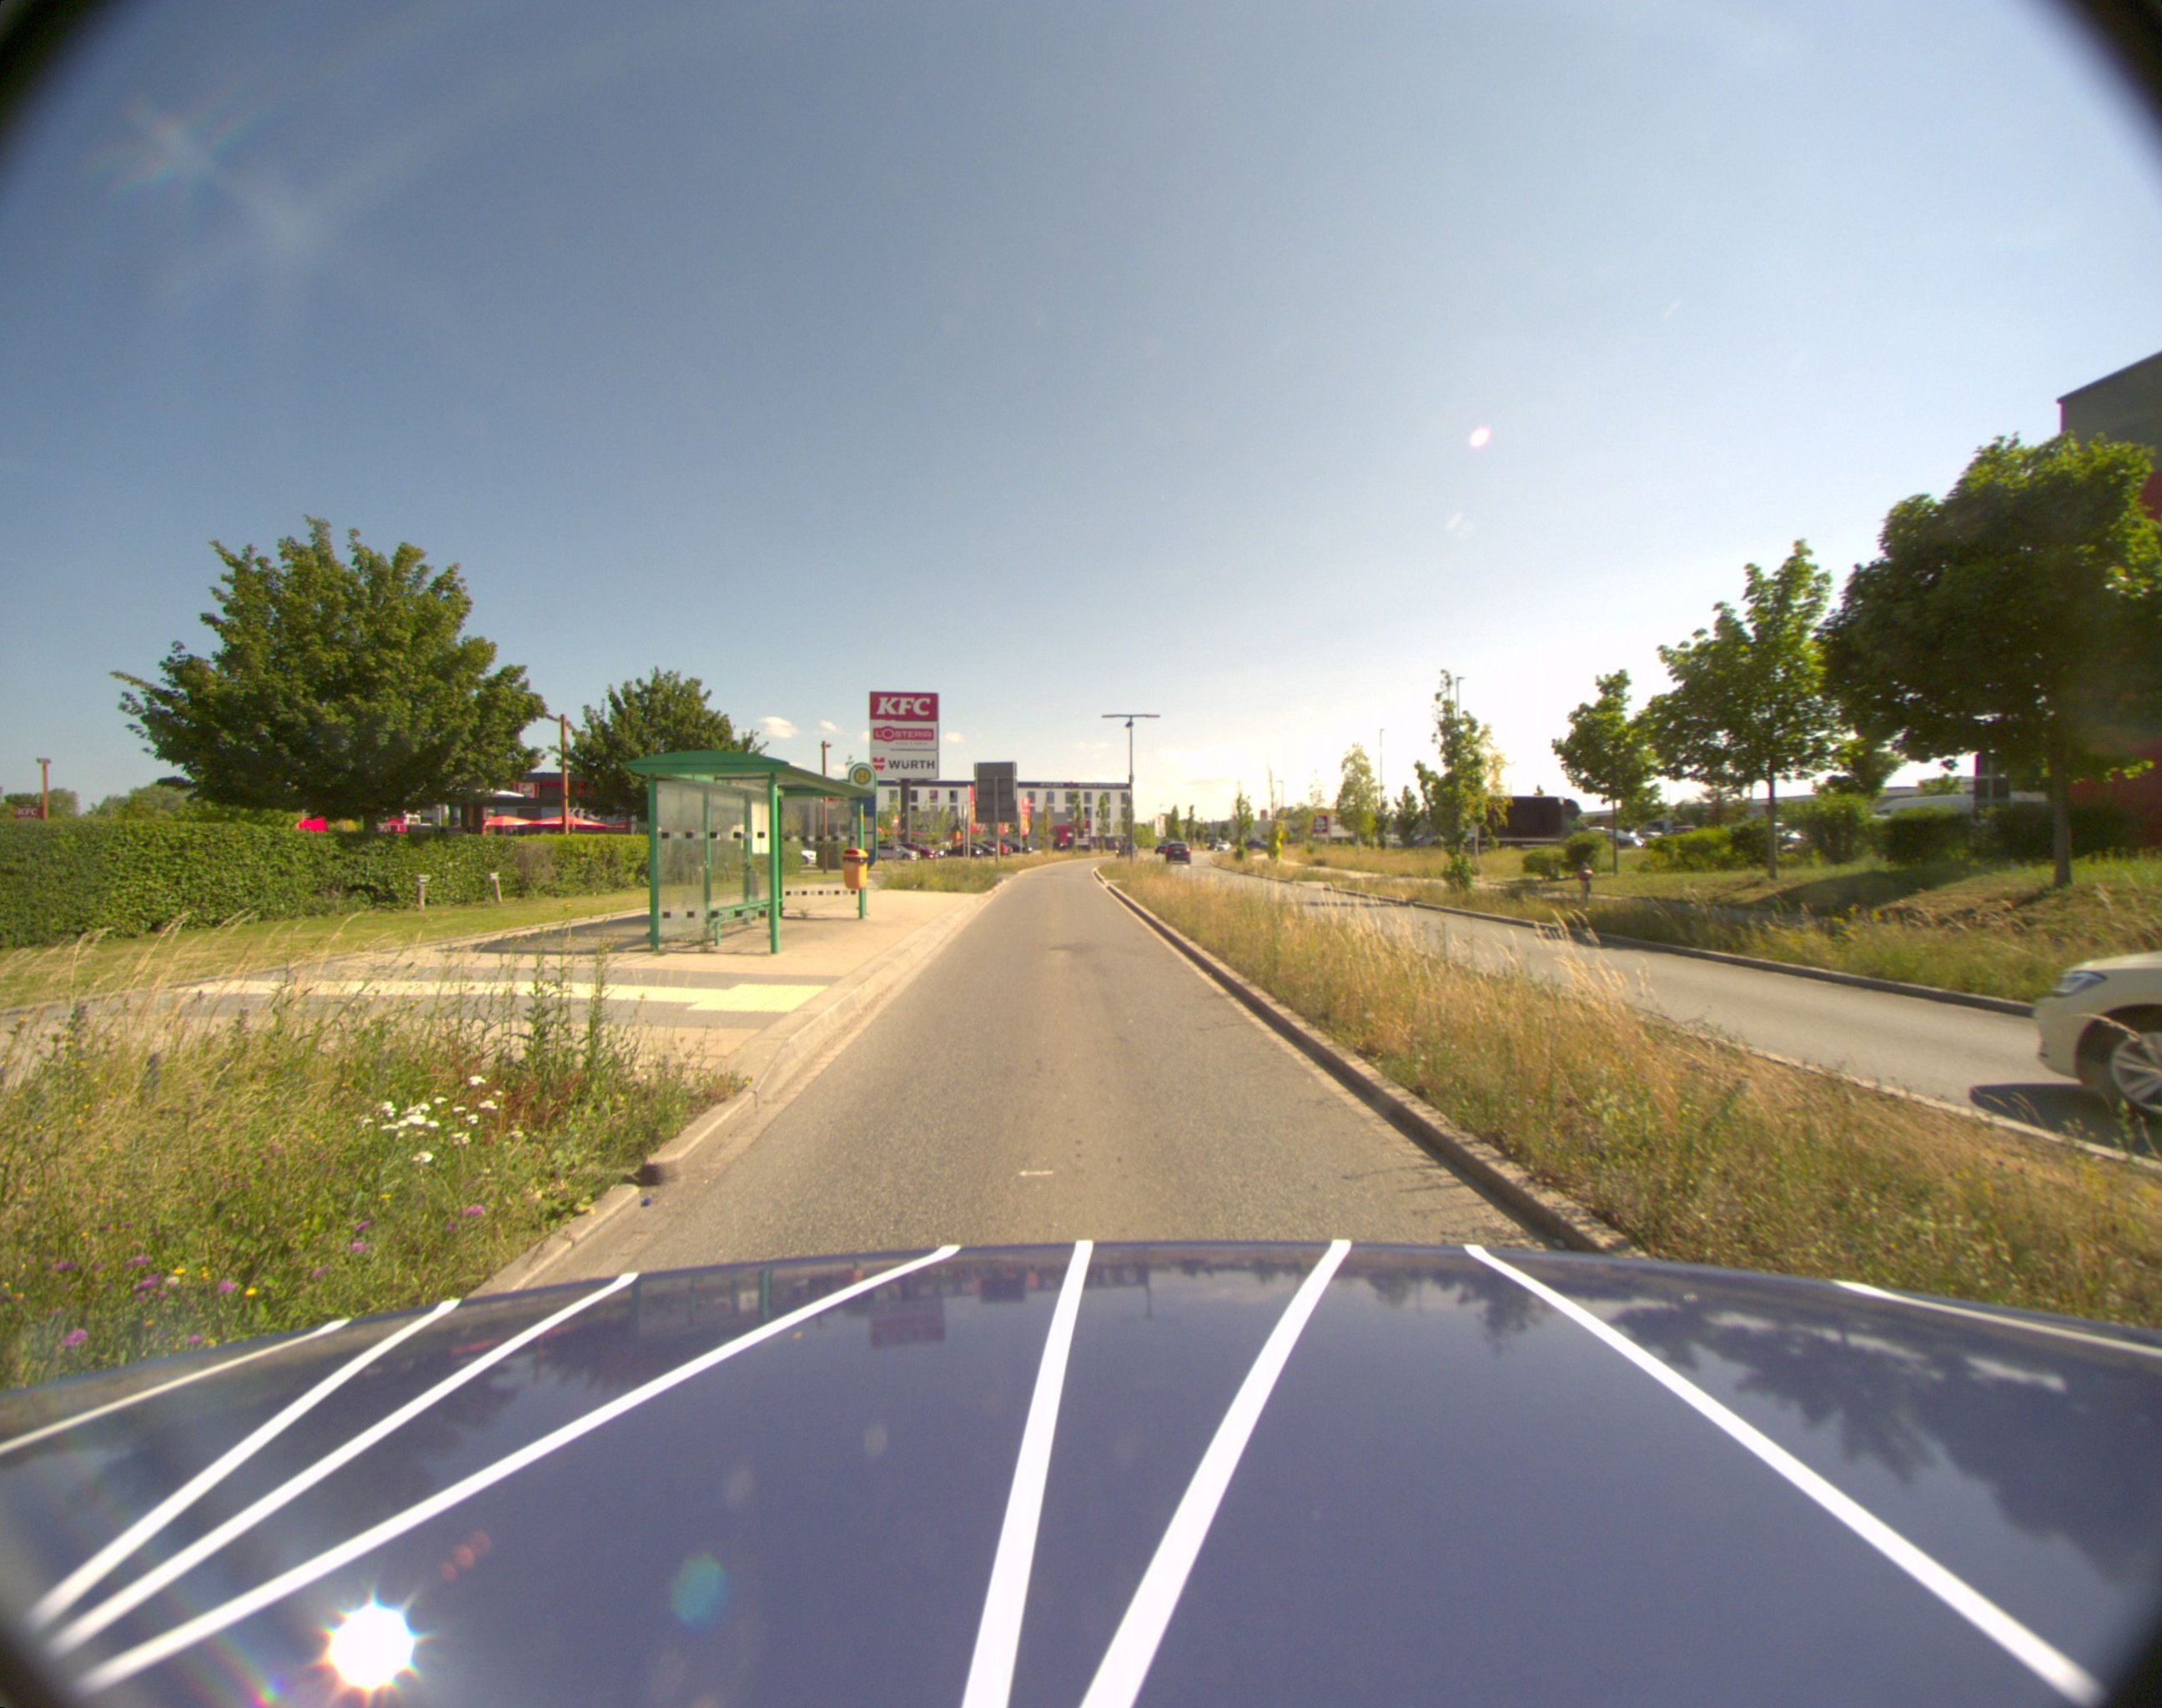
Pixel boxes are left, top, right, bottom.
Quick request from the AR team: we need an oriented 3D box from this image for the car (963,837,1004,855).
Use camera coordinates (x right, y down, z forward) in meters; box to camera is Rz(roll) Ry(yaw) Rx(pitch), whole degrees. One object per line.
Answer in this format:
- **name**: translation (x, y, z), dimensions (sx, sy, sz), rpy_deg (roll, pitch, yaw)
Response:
- **car**: translation (-11.168, -0.917, 87.026), dimensions (4.180, 2.002, 1.935), rpy_deg (0, 1, 11)

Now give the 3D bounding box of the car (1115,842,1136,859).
- **car**: translation (4.264, -0.334, 73.826), dimensions (1.862, 1.459, 4.002), rpy_deg (1, -2, 1)

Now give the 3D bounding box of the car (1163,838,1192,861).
- **car**: translation (6.939, -0.319, 54.493), dimensions (1.997, 1.608, 4.002), rpy_deg (0, 1, 8)

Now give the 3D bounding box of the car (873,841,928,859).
- **car**: translation (-16.240, -0.368, 68.387), dimensions (4.438, 1.643, 1.934), rpy_deg (0, 1, 5)

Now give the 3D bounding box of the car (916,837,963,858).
- **car**: translation (-14.153, -0.657, 76.019), dimensions (4.180, 2.002, 1.935), rpy_deg (0, 1, 12)

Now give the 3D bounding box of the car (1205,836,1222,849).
- **car**: translation (21.294, -1.803, 121.932), dimensions (2.076, 2.036, 4.688), rpy_deg (0, 1, 16)

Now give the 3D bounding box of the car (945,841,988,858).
- **car**: translation (-12.376, -0.477, 82.291), dimensions (4.178, 1.847, 1.805), rpy_deg (0, 1, 16)

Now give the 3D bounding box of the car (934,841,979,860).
- **car**: translation (-13.052, -0.380, 79.512), dimensions (4.179, 2.002, 1.935), rpy_deg (0, 1, 13)

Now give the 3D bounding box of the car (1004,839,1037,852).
- **car**: translation (-7.618, -1.025, 96.305), dimensions (3.818, 1.610, 1.758), rpy_deg (0, 1, 12)

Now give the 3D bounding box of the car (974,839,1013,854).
- **car**: translation (-10.413, -0.900, 90.173), dimensions (4.178, 1.752, 1.826), rpy_deg (0, 1, 16)

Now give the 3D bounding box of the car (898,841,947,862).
- **car**: translation (-15.241, -0.250, 73.010), dimensions (4.179, 2.002, 1.935), rpy_deg (0, 1, 13)

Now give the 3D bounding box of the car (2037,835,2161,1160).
- **car**: translation (6.759, 0.775, 2.484), dimensions (1.862, 1.705, 4.154), rpy_deg (0, 1, -5)

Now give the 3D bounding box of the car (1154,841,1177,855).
- **car**: translation (10.279, -0.773, 92.193), dimensions (1.958, 1.653, 4.688), rpy_deg (0, 1, 17)

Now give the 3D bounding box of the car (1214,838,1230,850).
- **car**: translation (19.955, -1.409, 107.411), dimensions (1.996, 1.674, 4.004), rpy_deg (0, 1, 14)
